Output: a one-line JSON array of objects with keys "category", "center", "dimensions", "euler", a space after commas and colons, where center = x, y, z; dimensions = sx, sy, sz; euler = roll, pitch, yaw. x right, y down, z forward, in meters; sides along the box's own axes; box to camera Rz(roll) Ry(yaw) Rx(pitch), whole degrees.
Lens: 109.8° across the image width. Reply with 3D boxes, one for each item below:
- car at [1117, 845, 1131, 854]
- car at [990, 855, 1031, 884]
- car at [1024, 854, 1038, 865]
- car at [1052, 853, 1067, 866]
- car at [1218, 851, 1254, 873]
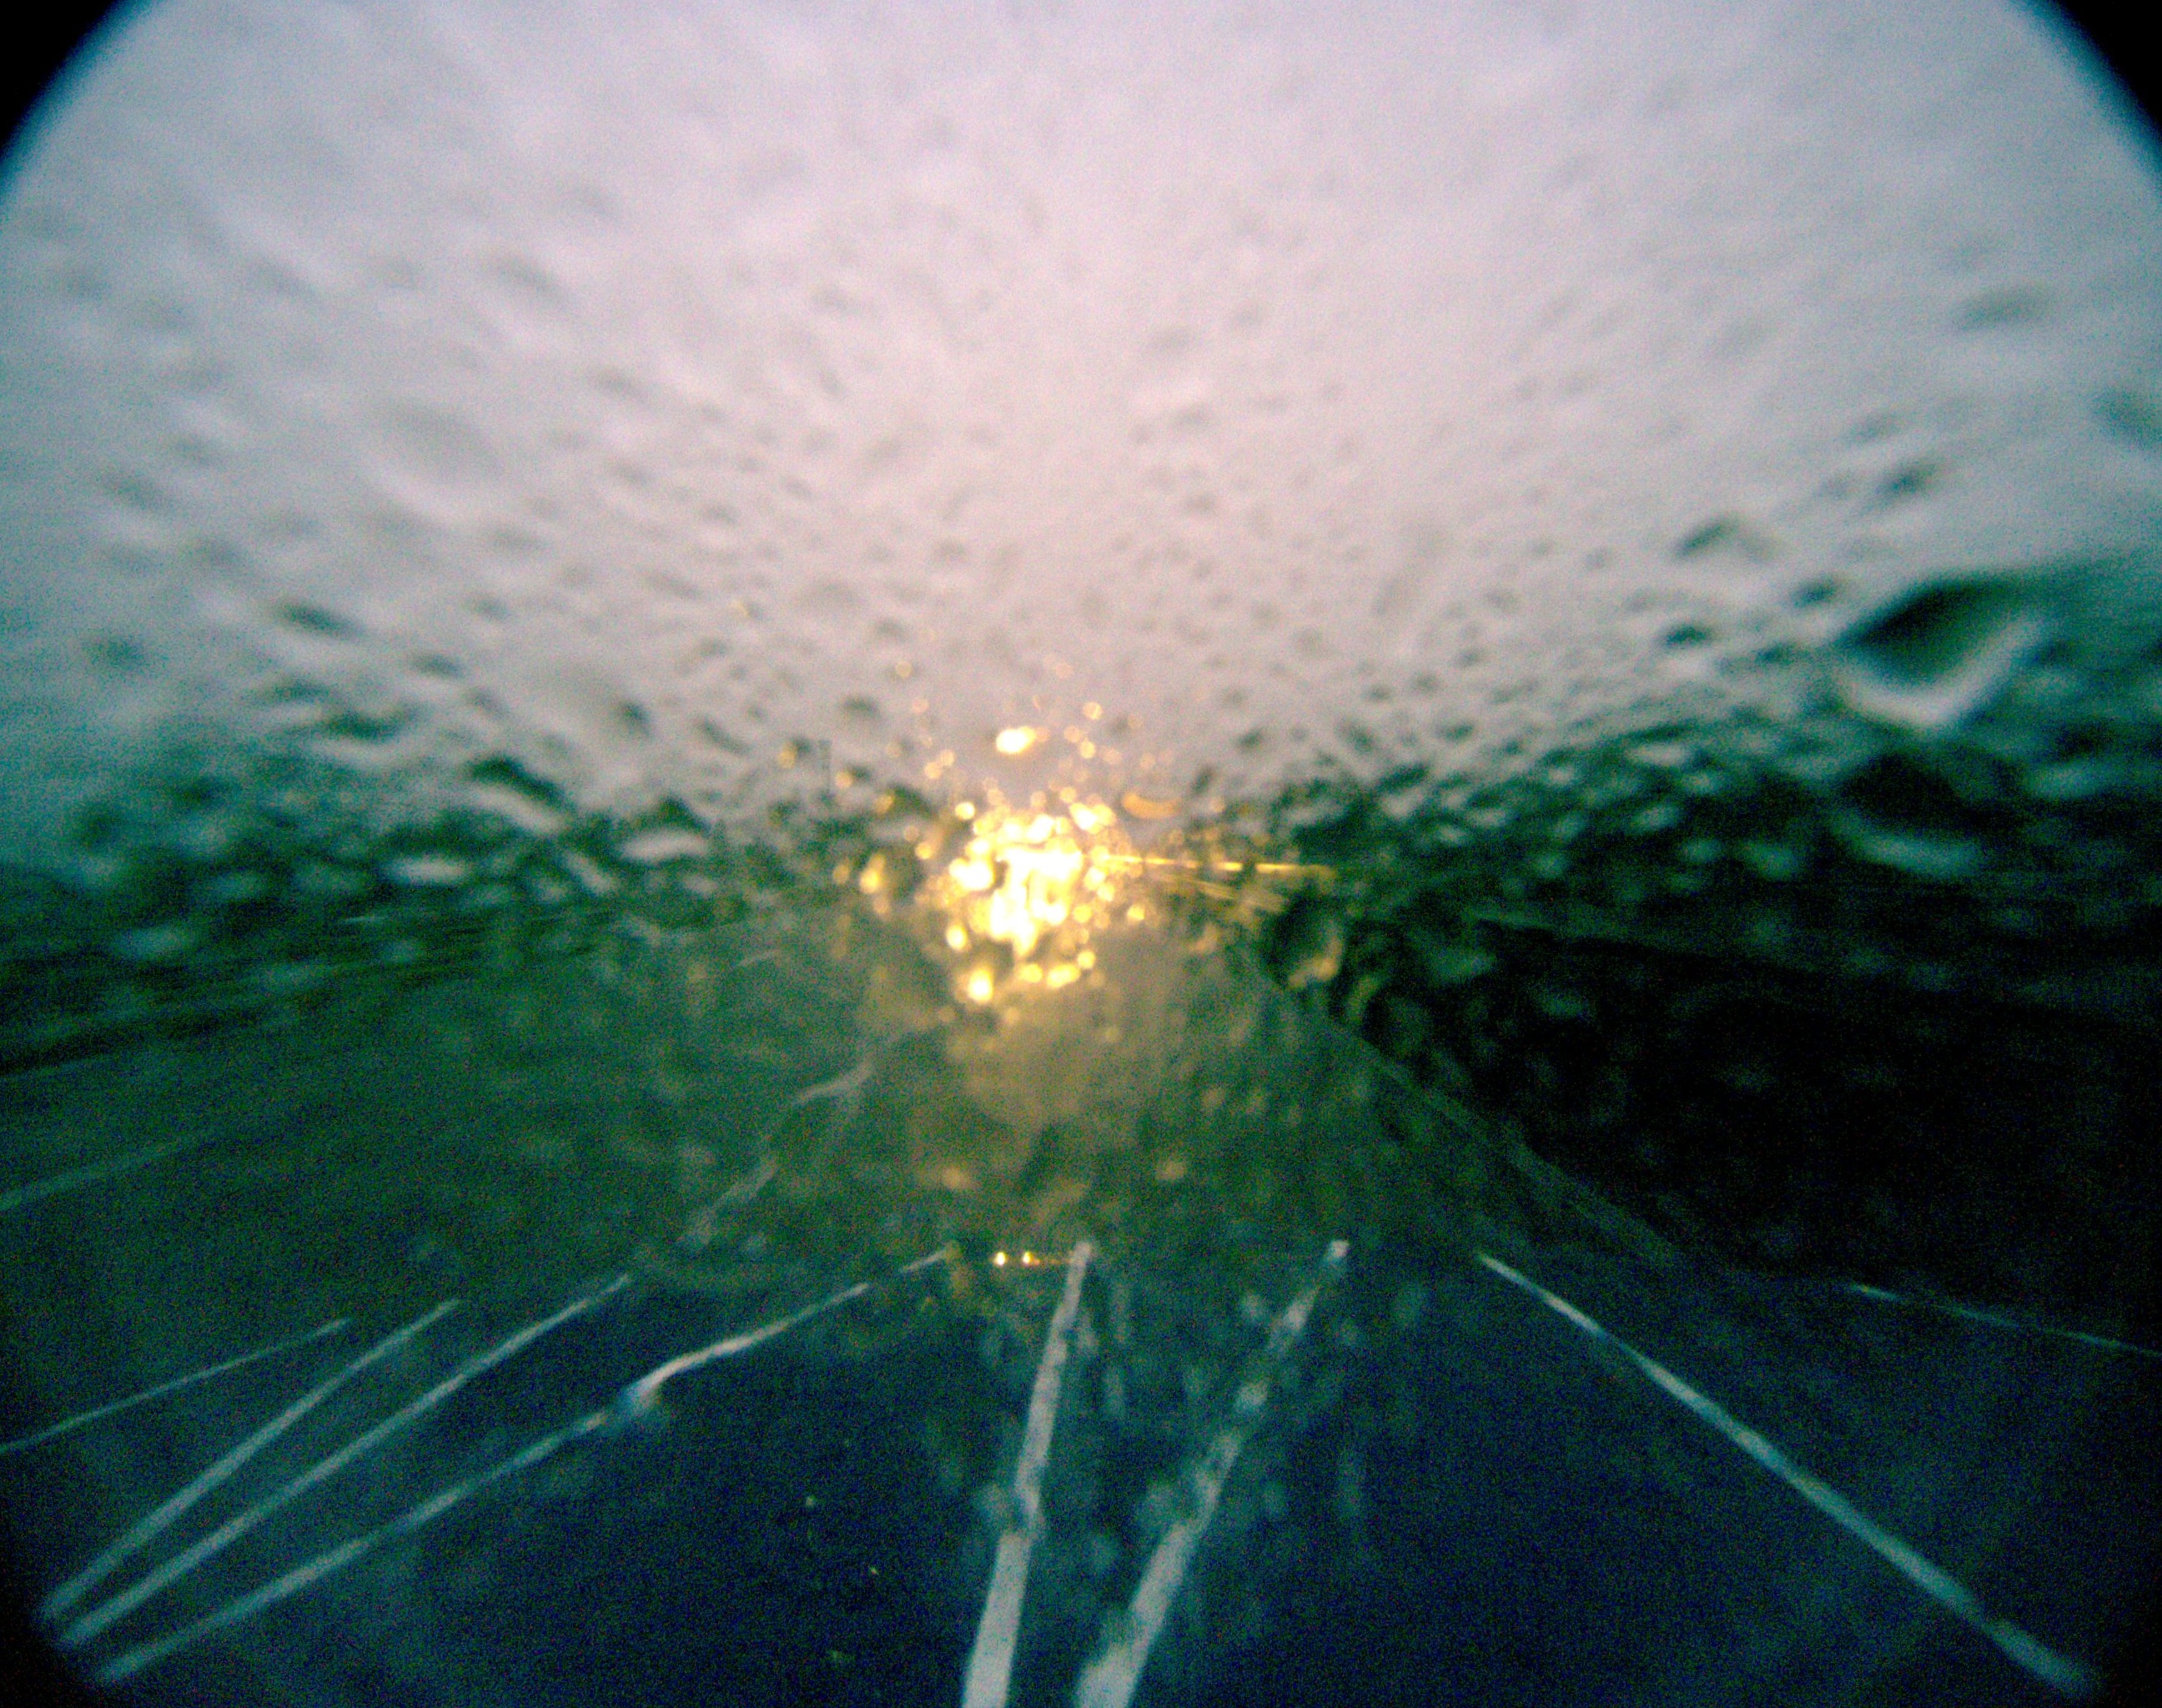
[{"category": "car", "center": [6.608, -0.671, 117.190], "dimensions": [1.605, 1.415, 3.545], "euler": [-1, 0, -5]}, {"category": "car", "center": [-3.955, 0.833, 43.206], "dimensions": [1.801, 1.494, 4.001], "euler": [-3, 0, 2]}, {"category": "car", "center": [-6.716, 0.792, 102.643], "dimensions": [1.633, 1.465, 3.998], "euler": [-1, 0, -7]}, {"category": "car", "center": [-2.451, 0.631, 87.505], "dimensions": [1.632, 1.465, 3.999], "euler": [-1, 0, -3]}, {"category": "car", "center": [10.535, 0.505, 51.975], "dimensions": [1.537, 1.357, 3.999], "euler": [-3, 1, 0]}]
